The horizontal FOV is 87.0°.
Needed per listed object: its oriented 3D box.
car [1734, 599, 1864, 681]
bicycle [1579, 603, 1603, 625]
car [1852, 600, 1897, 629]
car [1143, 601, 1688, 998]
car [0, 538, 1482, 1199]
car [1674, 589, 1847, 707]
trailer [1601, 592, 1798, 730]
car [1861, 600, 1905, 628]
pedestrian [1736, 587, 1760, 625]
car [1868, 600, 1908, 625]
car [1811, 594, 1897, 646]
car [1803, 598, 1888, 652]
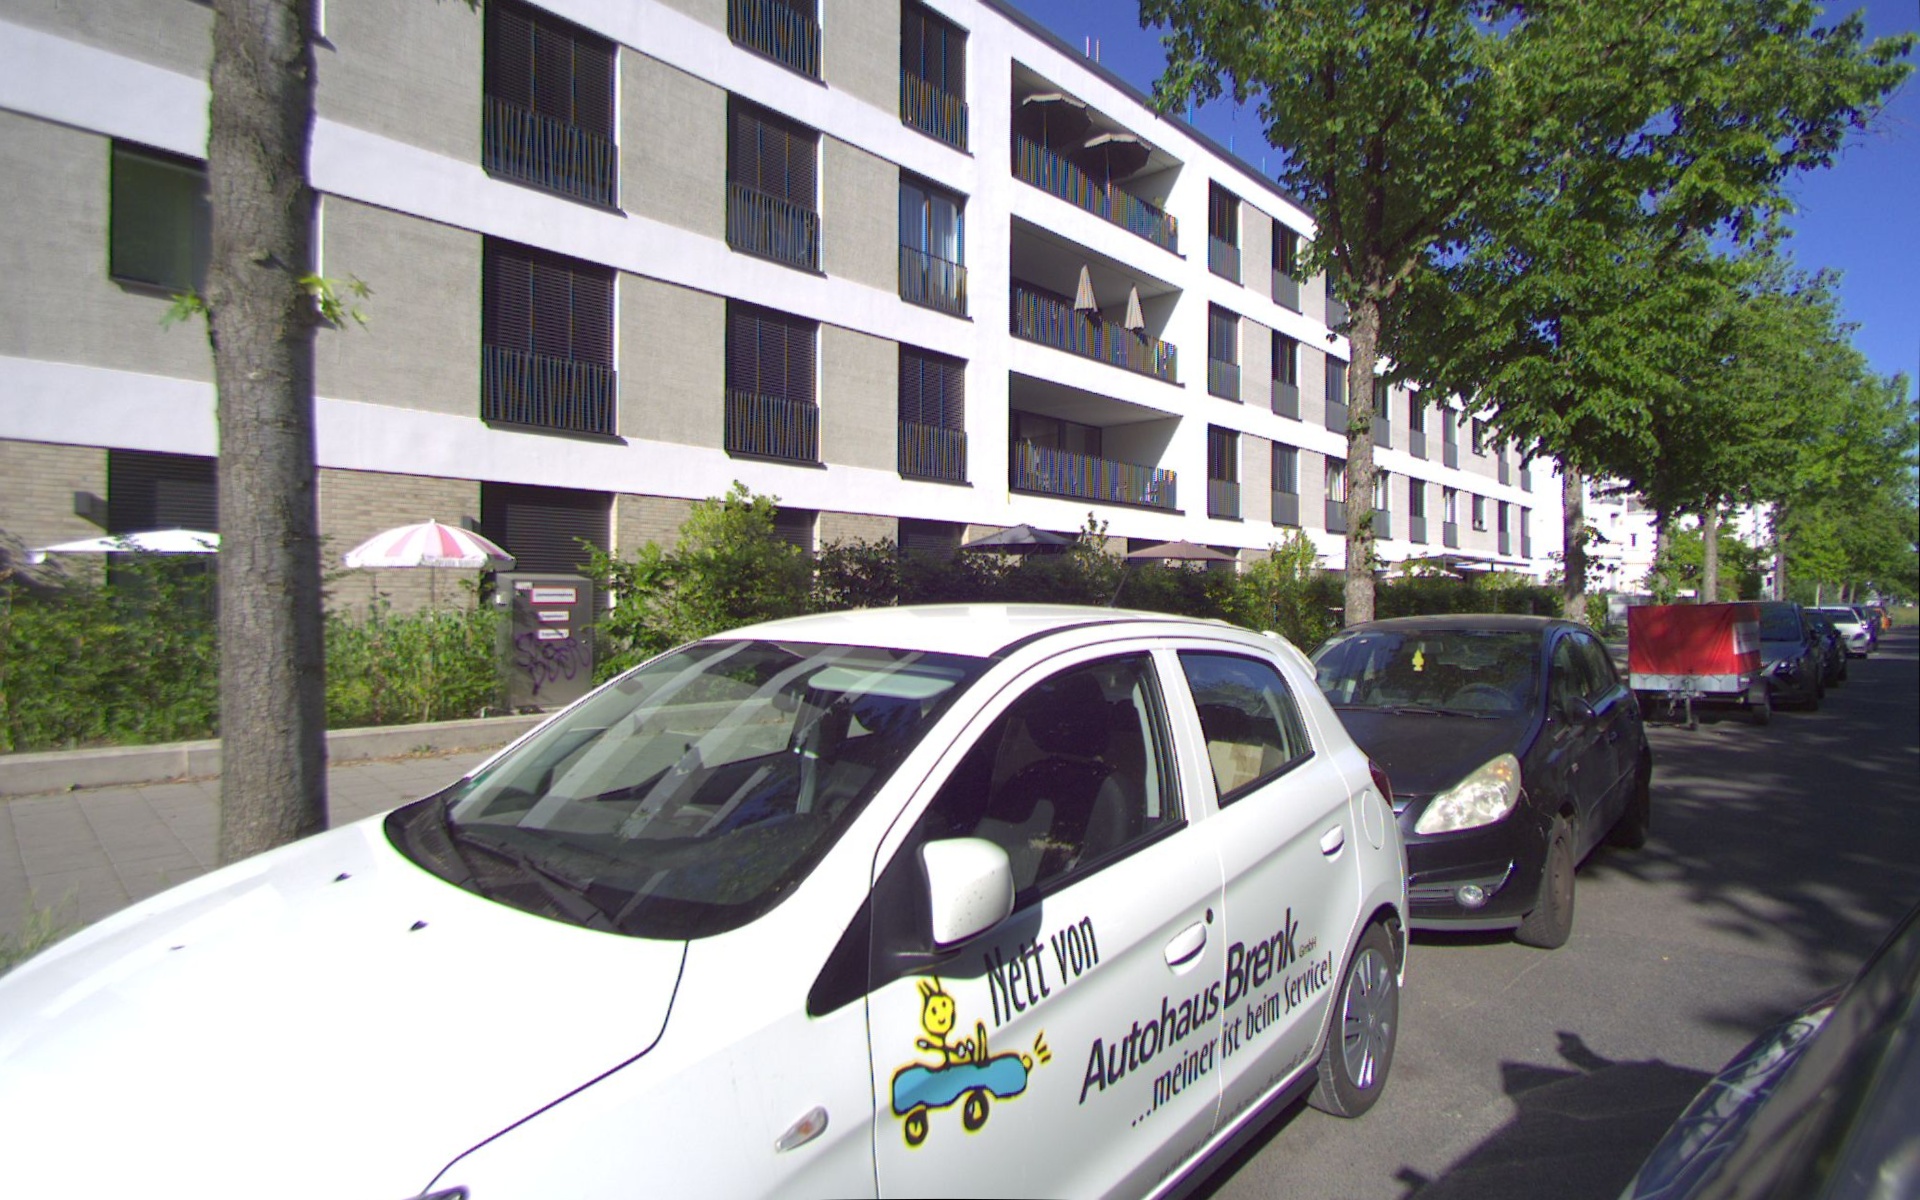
[{"bbox_3d":[17.411,0.750,20.922,1.718,1.536,4.275,-1,-1,44],"label":"car"},{"bbox_3d":[26.338,0.586,42.238,0.563,0.906,1.584,0,0,44],"label":"bicycle"},{"bbox_3d":[49.378,0.777,54.627,1.667,1.483,3.478,1,1,45],"label":"car"},{"bbox_3d":[2.896,0.765,5.871,1.669,1.469,4.115,-3,-2,42],"label":"car"},{"bbox_3d":[-0.166,0.714,2.575,1.731,1.506,3.949,-1,0,42],"label":"car"},{"bbox_3d":[13.183,0.701,16.555,1.791,1.664,4.744,-3,-2,43],"label":"car"},{"bbox_3d":[9.880,0.734,13.451,3.139,1.599,1.575,0,-2,-44],"label":"trailer"},{"bbox_3d":[52.792,0.785,57.866,1.667,1.483,3.478,1,1,45],"label":"car"},{"bbox_3d":[42.862,0.307,55.071,0.905,2.039,0.990,1,0,44],"label":"pedestrian"},{"bbox_3d":[56.587,0.743,61.692,1.667,1.483,3.614,1,1,45],"label":"car"},{"bbox_3d":[31.160,0.661,35.226,4.781,1.668,1.898,0,-1,-44],"label":"car"},{"bbox_3d":[27.151,0.718,31.146,1.778,1.537,4.620,-1,-1,39],"label":"car"}]
